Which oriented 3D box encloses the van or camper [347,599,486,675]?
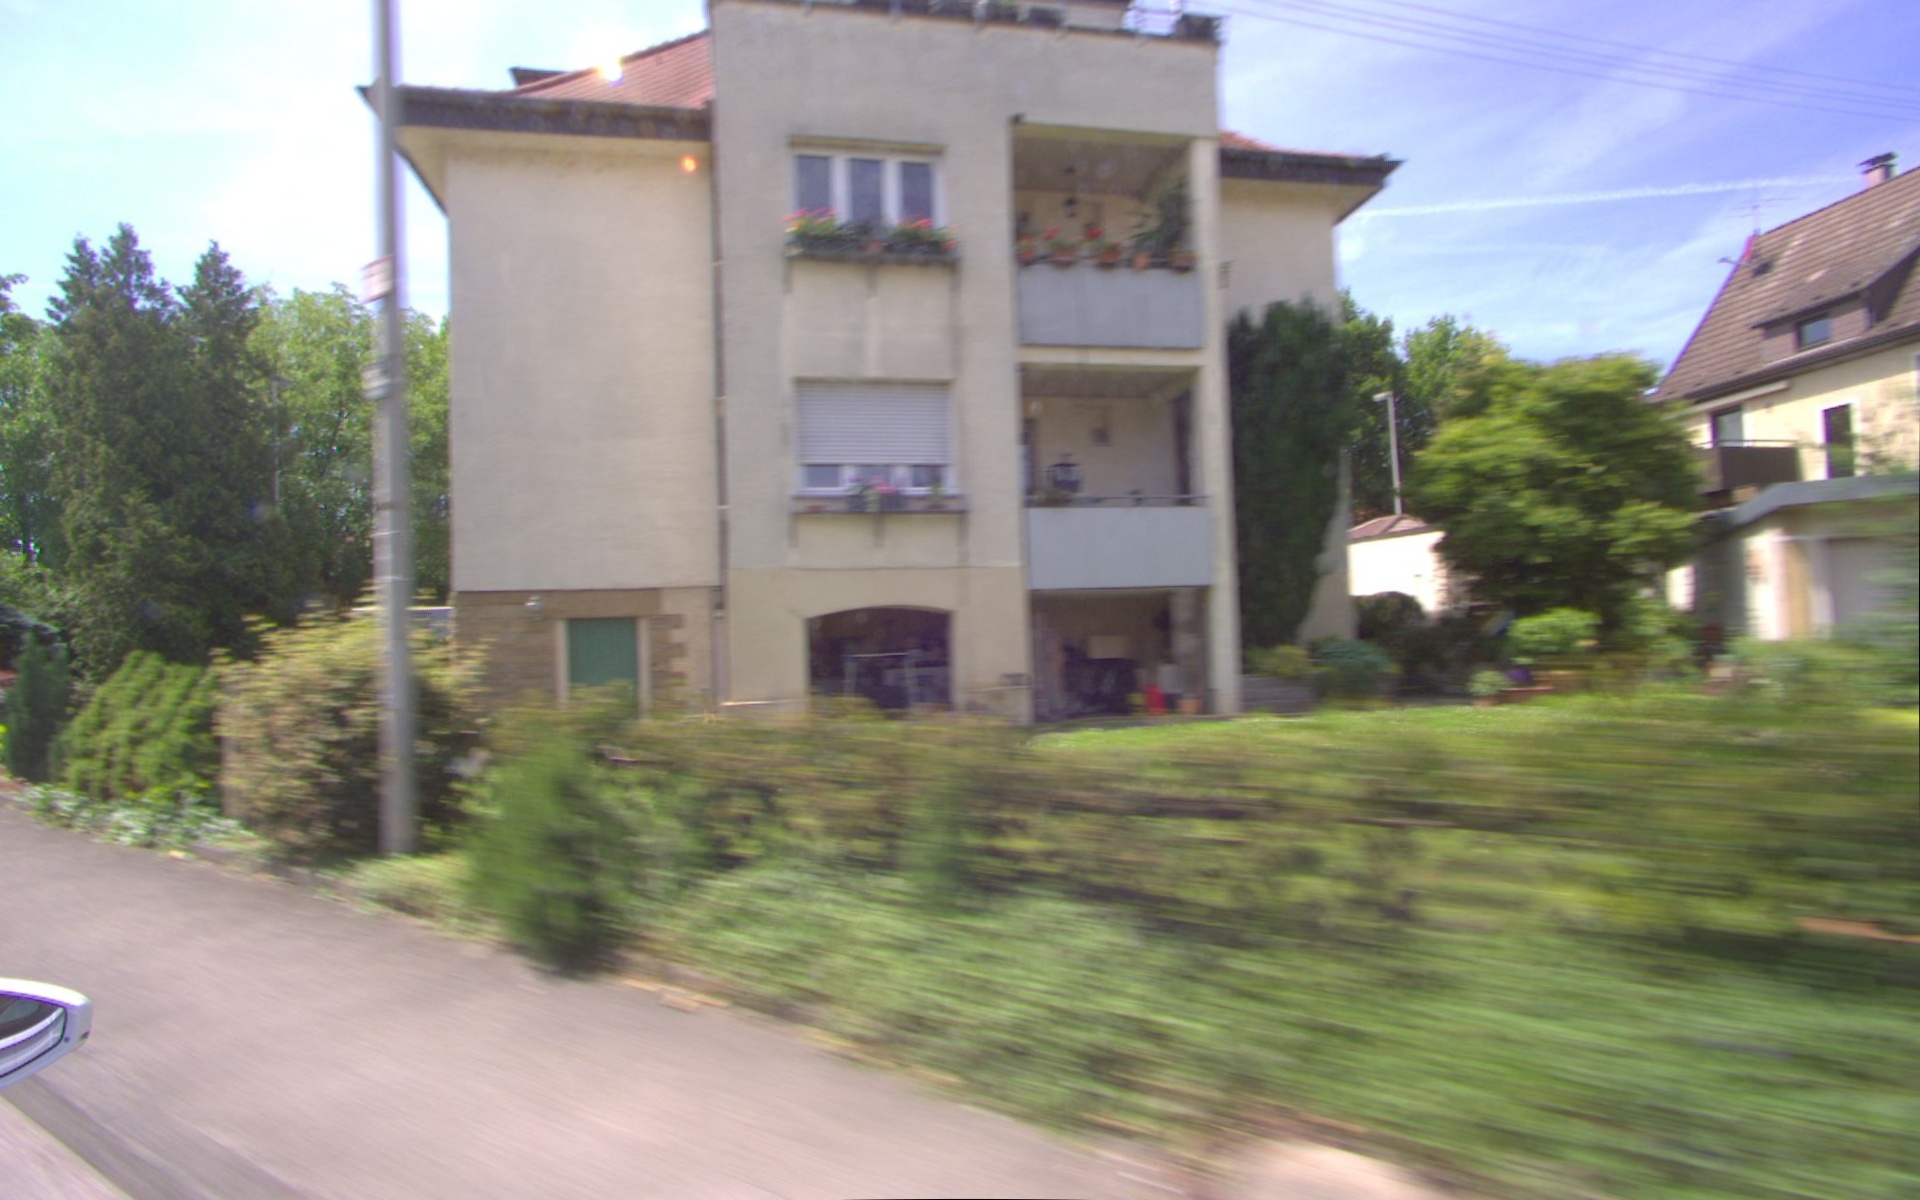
[{"bbox_3d":[-16.695,1.168,30.904,3.323,2.165,1.821,-1,-4,-8],"label":"van or camper"}]
